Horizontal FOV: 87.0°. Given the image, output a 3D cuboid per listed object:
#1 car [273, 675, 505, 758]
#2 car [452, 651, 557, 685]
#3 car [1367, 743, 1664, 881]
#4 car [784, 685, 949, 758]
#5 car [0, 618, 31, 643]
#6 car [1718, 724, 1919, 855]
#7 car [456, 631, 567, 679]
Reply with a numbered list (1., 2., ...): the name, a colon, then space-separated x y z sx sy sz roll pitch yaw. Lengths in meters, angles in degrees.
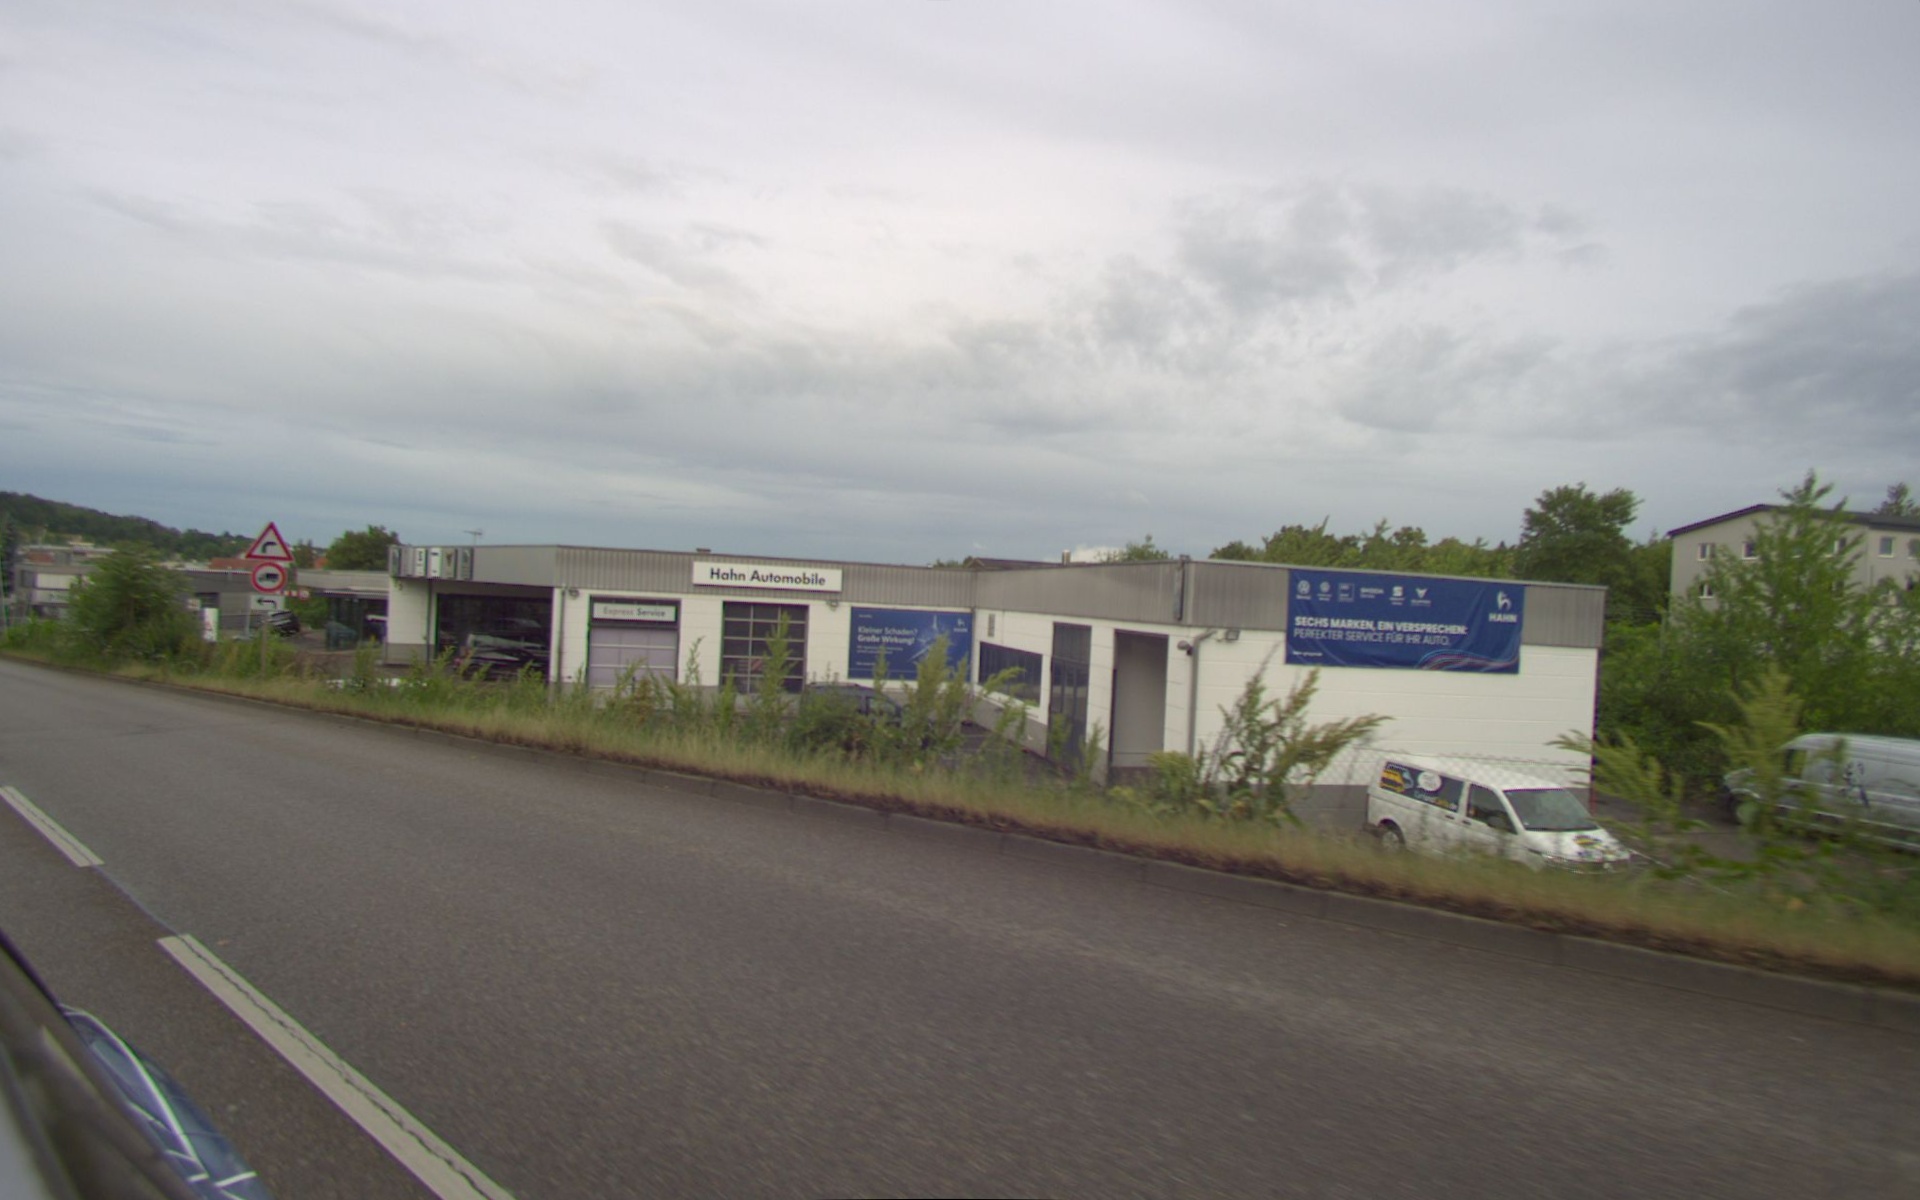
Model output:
1. car: -14.200 2.971 25.433 1.864 1.817 4.583 -1 -7 37
2. car: -20.009 2.980 44.646 3.954 1.427 1.959 1 -2 -16
3. car: 9.737 3.683 18.233 1.836 1.817 4.655 6 -6 -18
4. car: -2.823 3.607 30.236 4.565 1.817 1.872 5 -6 -12
5. car: -74.076 2.270 76.680 1.816 1.885 5.029 0 -2 31
6. car: 21.089 4.297 22.717 1.951 2.480 6.615 5 -4 -17
7. car: -21.090 2.582 47.748 4.410 1.975 1.994 4 -2 -14
